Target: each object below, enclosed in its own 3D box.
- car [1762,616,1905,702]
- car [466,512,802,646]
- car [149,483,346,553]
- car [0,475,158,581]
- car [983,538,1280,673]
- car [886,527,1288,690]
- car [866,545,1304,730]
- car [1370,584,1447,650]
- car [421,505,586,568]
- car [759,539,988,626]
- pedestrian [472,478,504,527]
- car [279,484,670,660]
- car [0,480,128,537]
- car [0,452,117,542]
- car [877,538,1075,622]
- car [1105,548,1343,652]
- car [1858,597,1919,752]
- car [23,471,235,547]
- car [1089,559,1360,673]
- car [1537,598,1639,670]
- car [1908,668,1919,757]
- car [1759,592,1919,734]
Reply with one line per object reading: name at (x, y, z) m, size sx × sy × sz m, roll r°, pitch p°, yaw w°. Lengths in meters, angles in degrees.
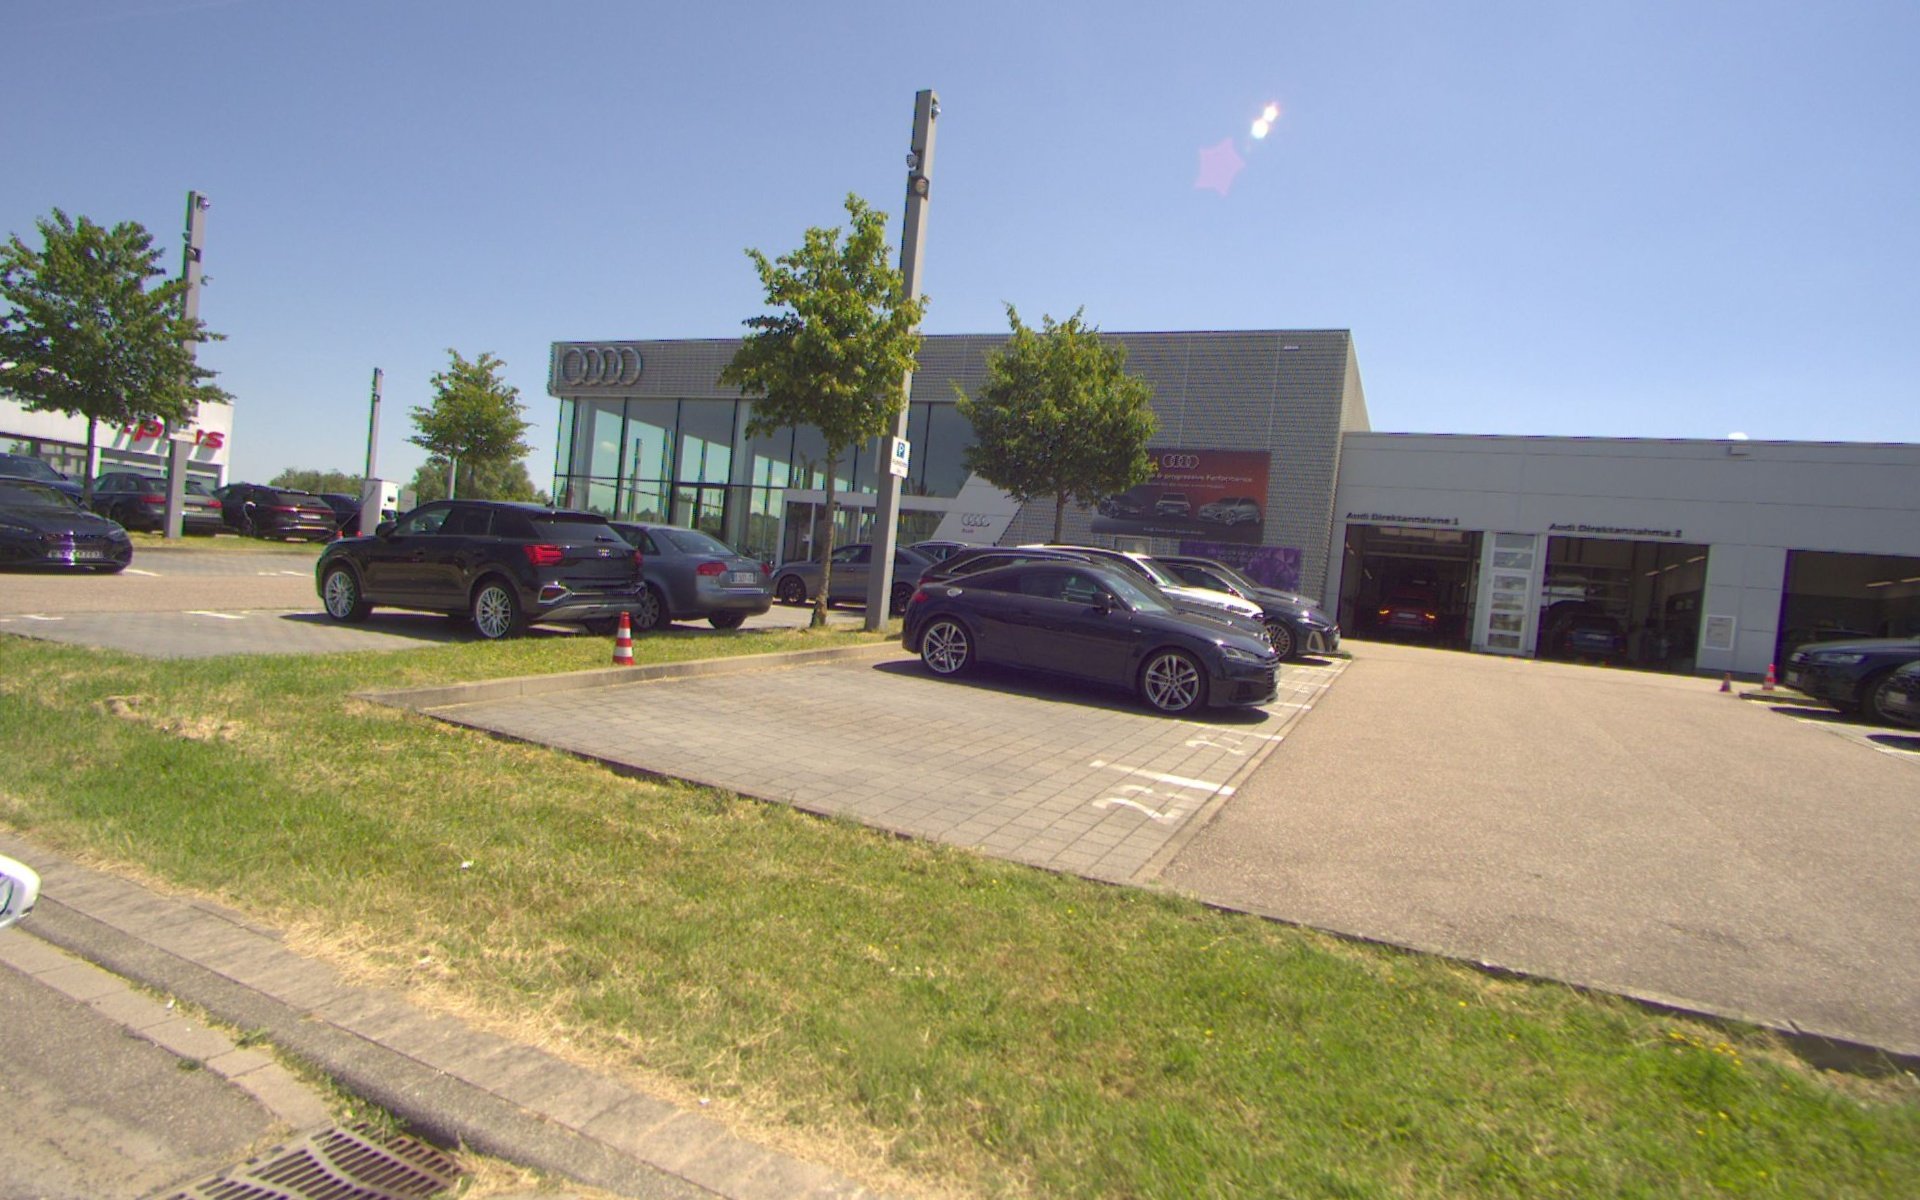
car at (22.093, 1.411, 25.645) m, size 1.935 × 1.767 × 4.237 m, roll 7°, pitch 4°, yaw 32°
car at (-4.534, -0.331, 13.998) m, size 4.151 × 1.385 × 1.963 m, roll 6°, pitch 3°, yaw 24°
car at (-18.450, -2.123, 26.033) m, size 4.897 × 1.475 × 1.964 m, roll 4°, pitch 1°, yaw 25°
car at (-15.282, -1.252, 16.088) m, size 4.636 × 1.385 × 1.963 m, roll 7°, pitch 4°, yaw 25°
car at (2.746, 0.045, 16.091) m, size 4.211 × 1.635 × 1.964 m, roll 6°, pitch 2°, yaw 24°
car at (1.684, 0.050, 13.542) m, size 4.915 × 1.574 × 1.964 m, roll 6°, pitch 2°, yaw 24°
car at (1.356, 0.313, 10.918) m, size 4.234 × 1.393 × 1.964 m, roll 6°, pitch 2°, yaw 24°
car at (14.356, 0.482, 32.080) m, size 1.933 × 1.767 × 4.311 m, roll 6°, pitch 3°, yaw 26°
car at (-14.330, -2.001, 31.536) m, size 4.897 × 1.642 × 1.964 m, roll 4°, pitch 1°, yaw 25°
car at (-1.844, -0.401, 21.381) m, size 4.386 × 1.385 × 1.963 m, roll 6°, pitch 3°, yaw 24°
pedestrian at (-18.513, -3.814, 39.473) m, size 0.732 × 1.799 × 0.771 m, roll 6°, pitch 2°, yaw 30°
car at (-5.747, -0.381, 11.898) m, size 4.151 × 1.593 × 1.889 m, roll 6°, pitch 3°, yaw 24°
car at (-29.002, -2.949, 31.989) m, size 4.987 × 1.477 × 2.027 m, roll 6°, pitch 3°, yaw 25°
car at (-20.856, -2.242, 21.861) m, size 4.897 × 1.619 × 1.964 m, roll 4°, pitch 1°, yaw 25°
car at (0.377, -0.516, 24.709) m, size 4.349 × 1.614 × 1.962 m, roll 6°, pitch 3°, yaw 27°
car at (5.768, -0.025, 22.029) m, size 4.643 × 1.762 × 1.964 m, roll 6°, pitch 2°, yaw 24°
car at (12.945, 1.025, 10.860) m, size 4.337 × 1.718 × 1.826 m, roll 6°, pitch 3°, yaw 24°
car at (-19.758, -2.170, 23.898) m, size 4.897 × 1.475 × 1.964 m, roll 4°, pitch 1°, yaw 25°
car at (4.711, 0.241, 17.928) m, size 4.293 × 1.496 × 1.964 m, roll 6°, pitch 2°, yaw 24°
car at (18.331, 0.922, 29.550) m, size 1.933 × 1.767 × 4.242 m, roll 6°, pitch 3°, yaw 26°
car at (11.641, 0.982, 8.561) m, size 4.699 × 1.666 × 1.826 m, roll 6°, pitch 3°, yaw 24°
car at (14.096, 0.975, 13.680) m, size 4.543 × 1.767 × 1.963 m, roll 6°, pitch 4°, yaw 24°
